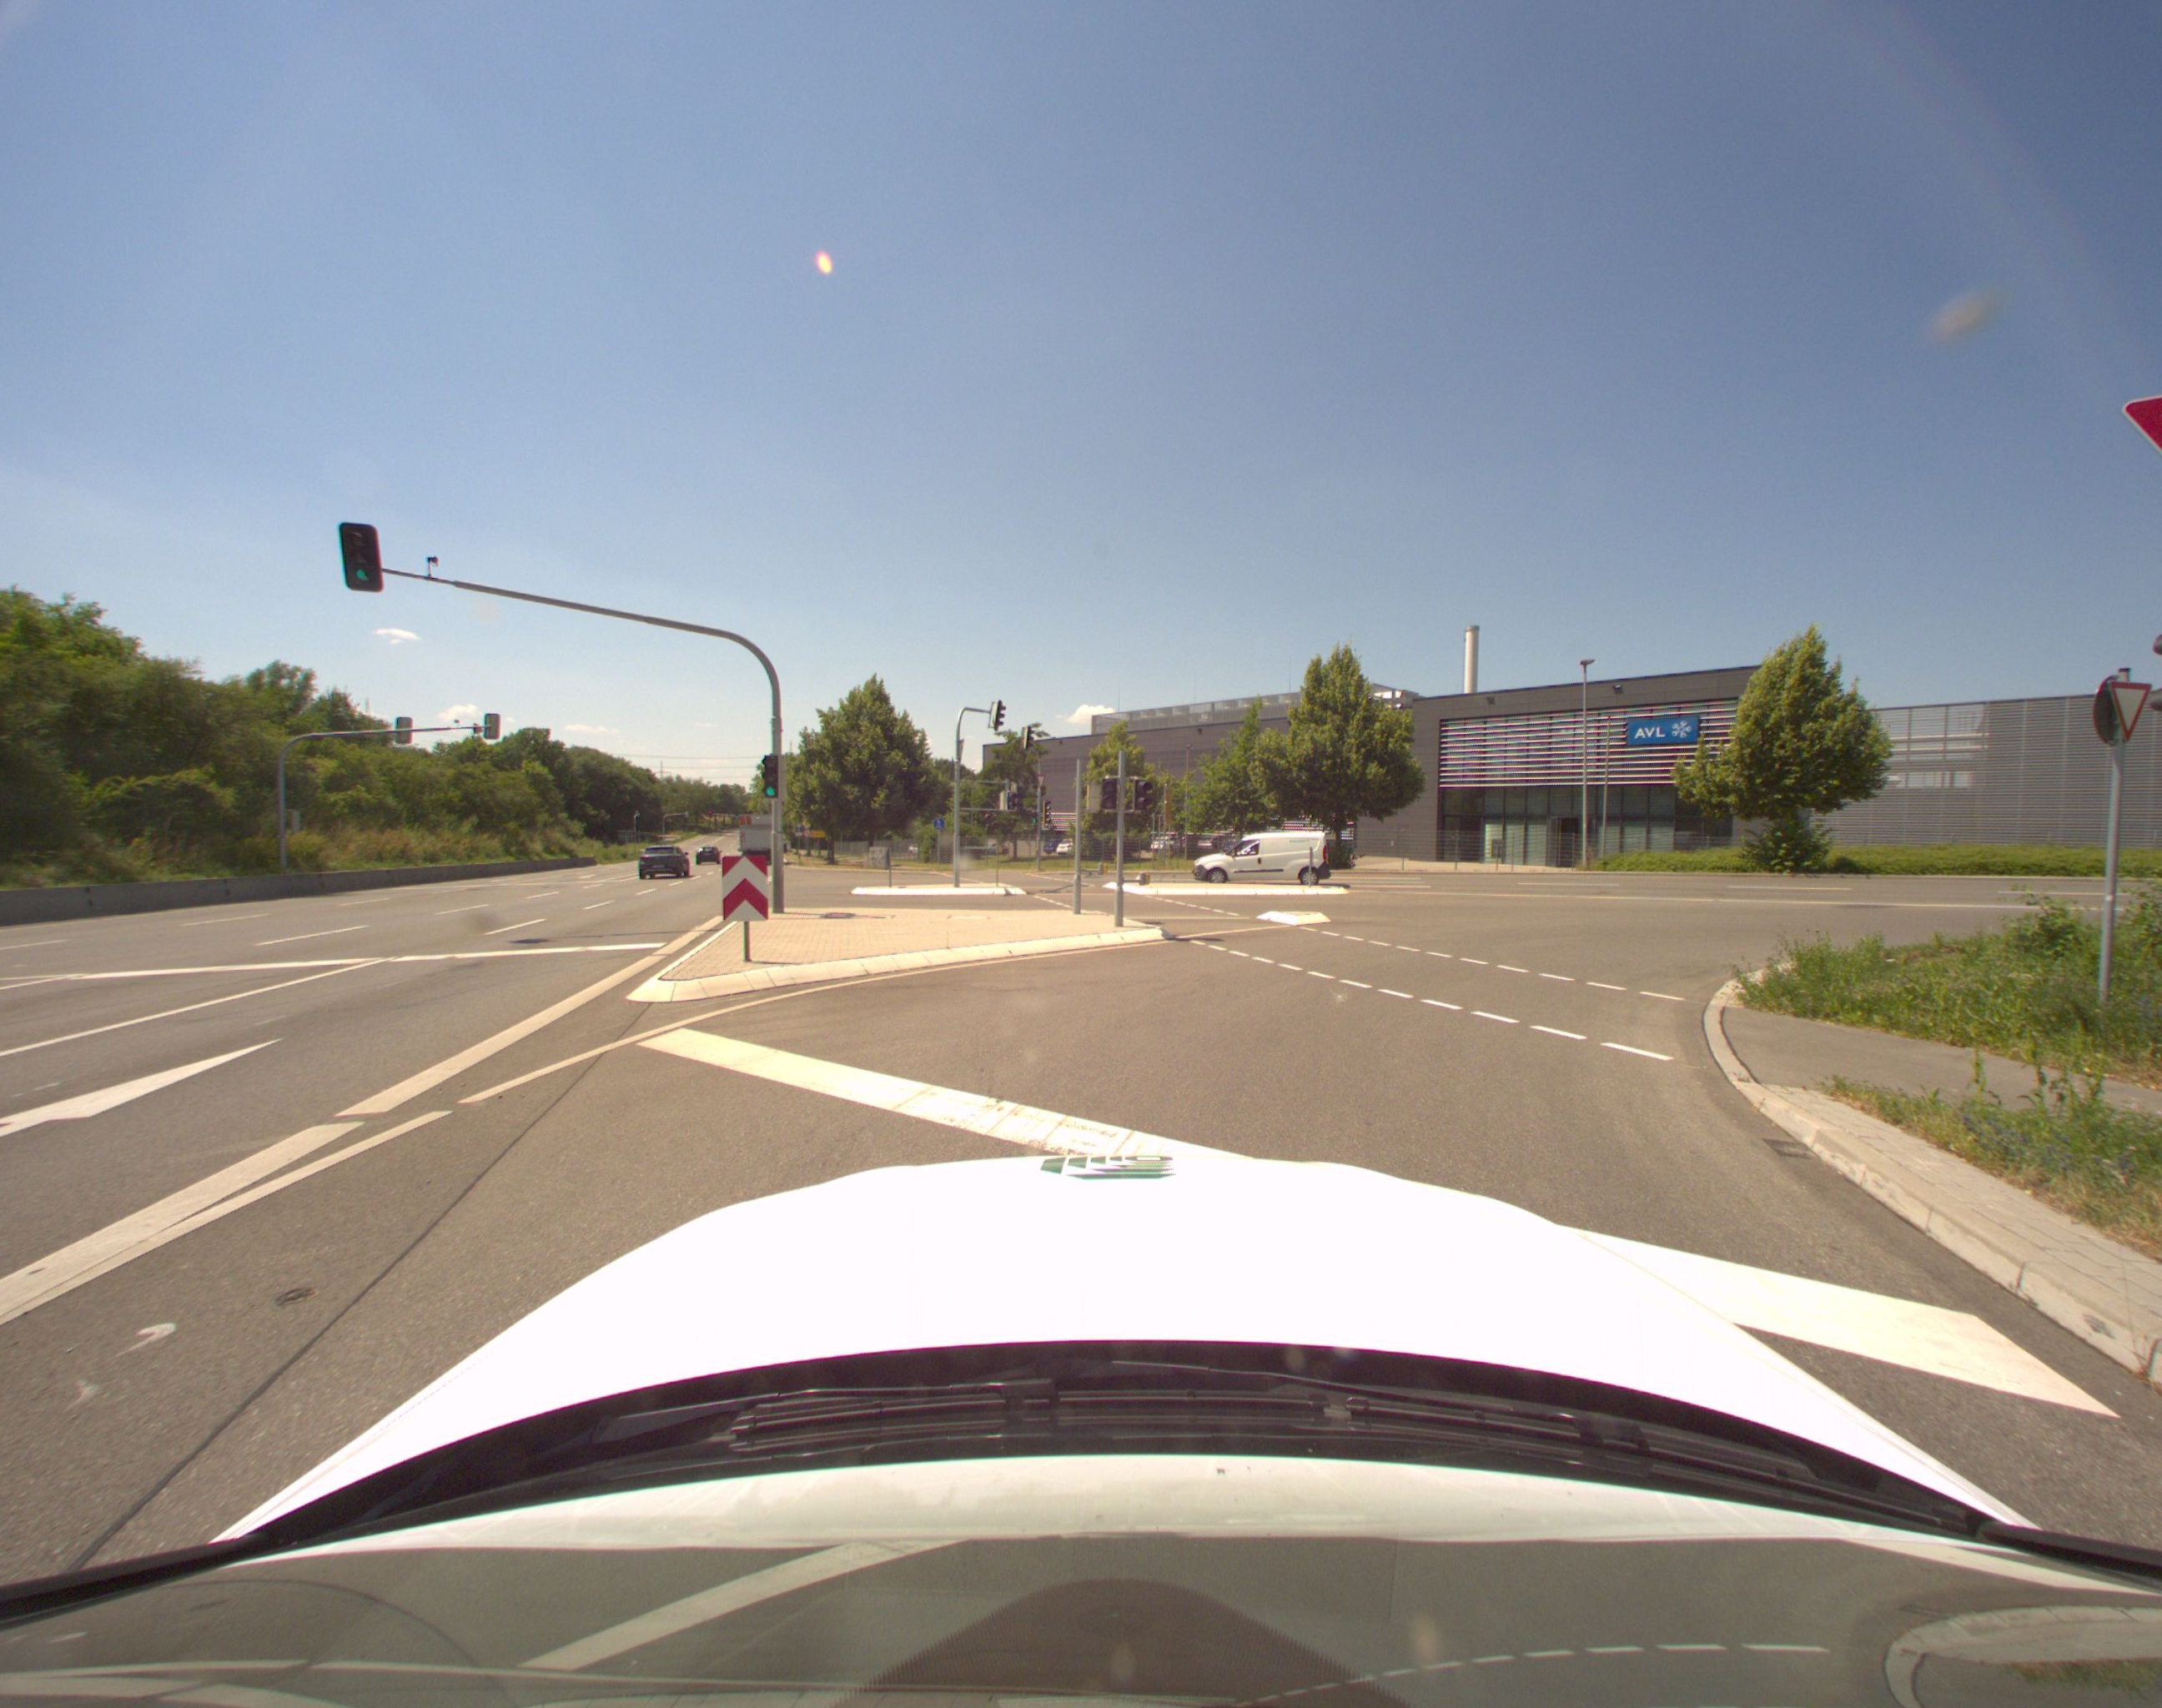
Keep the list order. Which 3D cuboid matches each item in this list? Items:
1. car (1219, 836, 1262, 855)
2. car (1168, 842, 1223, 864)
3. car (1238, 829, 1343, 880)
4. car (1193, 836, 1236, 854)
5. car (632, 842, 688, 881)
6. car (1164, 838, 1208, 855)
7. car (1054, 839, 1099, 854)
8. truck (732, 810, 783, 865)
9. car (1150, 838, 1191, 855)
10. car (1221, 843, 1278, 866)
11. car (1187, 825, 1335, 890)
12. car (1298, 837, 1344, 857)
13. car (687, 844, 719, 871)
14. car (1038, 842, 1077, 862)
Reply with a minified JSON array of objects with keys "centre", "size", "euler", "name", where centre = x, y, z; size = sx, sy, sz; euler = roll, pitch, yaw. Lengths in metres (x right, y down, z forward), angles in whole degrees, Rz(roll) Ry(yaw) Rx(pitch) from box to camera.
[{"centre":[13.797,-0.711,70.306],"size":[1.797,1.528,4.024],"euler":[-1,-1,42],"name":"car"},{"centre":[8.347,-0.081,59.199],"size":[1.975,1.486,4.024],"euler":[-1,-1,42],"name":"car"},{"centre":[8.179,-0.018,31.935],"size":[3.825,1.706,2.008],"euler":[1,5,13],"name":"car"},{"centre":[11.922,-0.791,72.452],"size":[1.896,1.517,4.024],"euler":[-1,-1,42],"name":"car"},{"centre":[-19.947,0.354,38.763],"size":[2.002,1.750,3.970],"euler":[-1,0,-22],"name":"car"},{"centre":[9.569,-0.681,74.063],"size":[1.975,1.486,4.024],"euler":[-1,-1,42],"name":"car"},{"centre":[-0.335,-0.631,66.936],"size":[1.595,1.165,3.657],"euler":[-1,-1,42],"name":"car"},{"centre":[-23.731,-1.118,60.038],"size":[3.277,3.840,6.161],"euler":[-1,-1,-20],"name":"truck"},{"centre":[8.388,-0.710,76.172],"size":[1.749,1.460,4.024],"euler":[-1,-1,42],"name":"car"},{"centre":[11.415,0.021,55.079],"size":[1.975,1.486,4.024],"euler":[-1,-1,42],"name":"car"},{"centre":[6.248,0.066,28.444],"size":[4.821,1.941,2.008],"euler":[1,5,13],"name":"car"},{"centre":[19.130,-0.529,64.862],"size":[1.975,1.486,4.024],"euler":[-1,-1,42],"name":"car"},{"centre":[-29.826,0.288,64.370],"size":[2.001,2.014,3.971],"euler":[-1,-1,-22],"name":"car"},{"centre":[-2.502,-0.214,87.166],"size":[1.975,2.014,4.024],"euler":[-1,-1,42],"name":"car"}]
